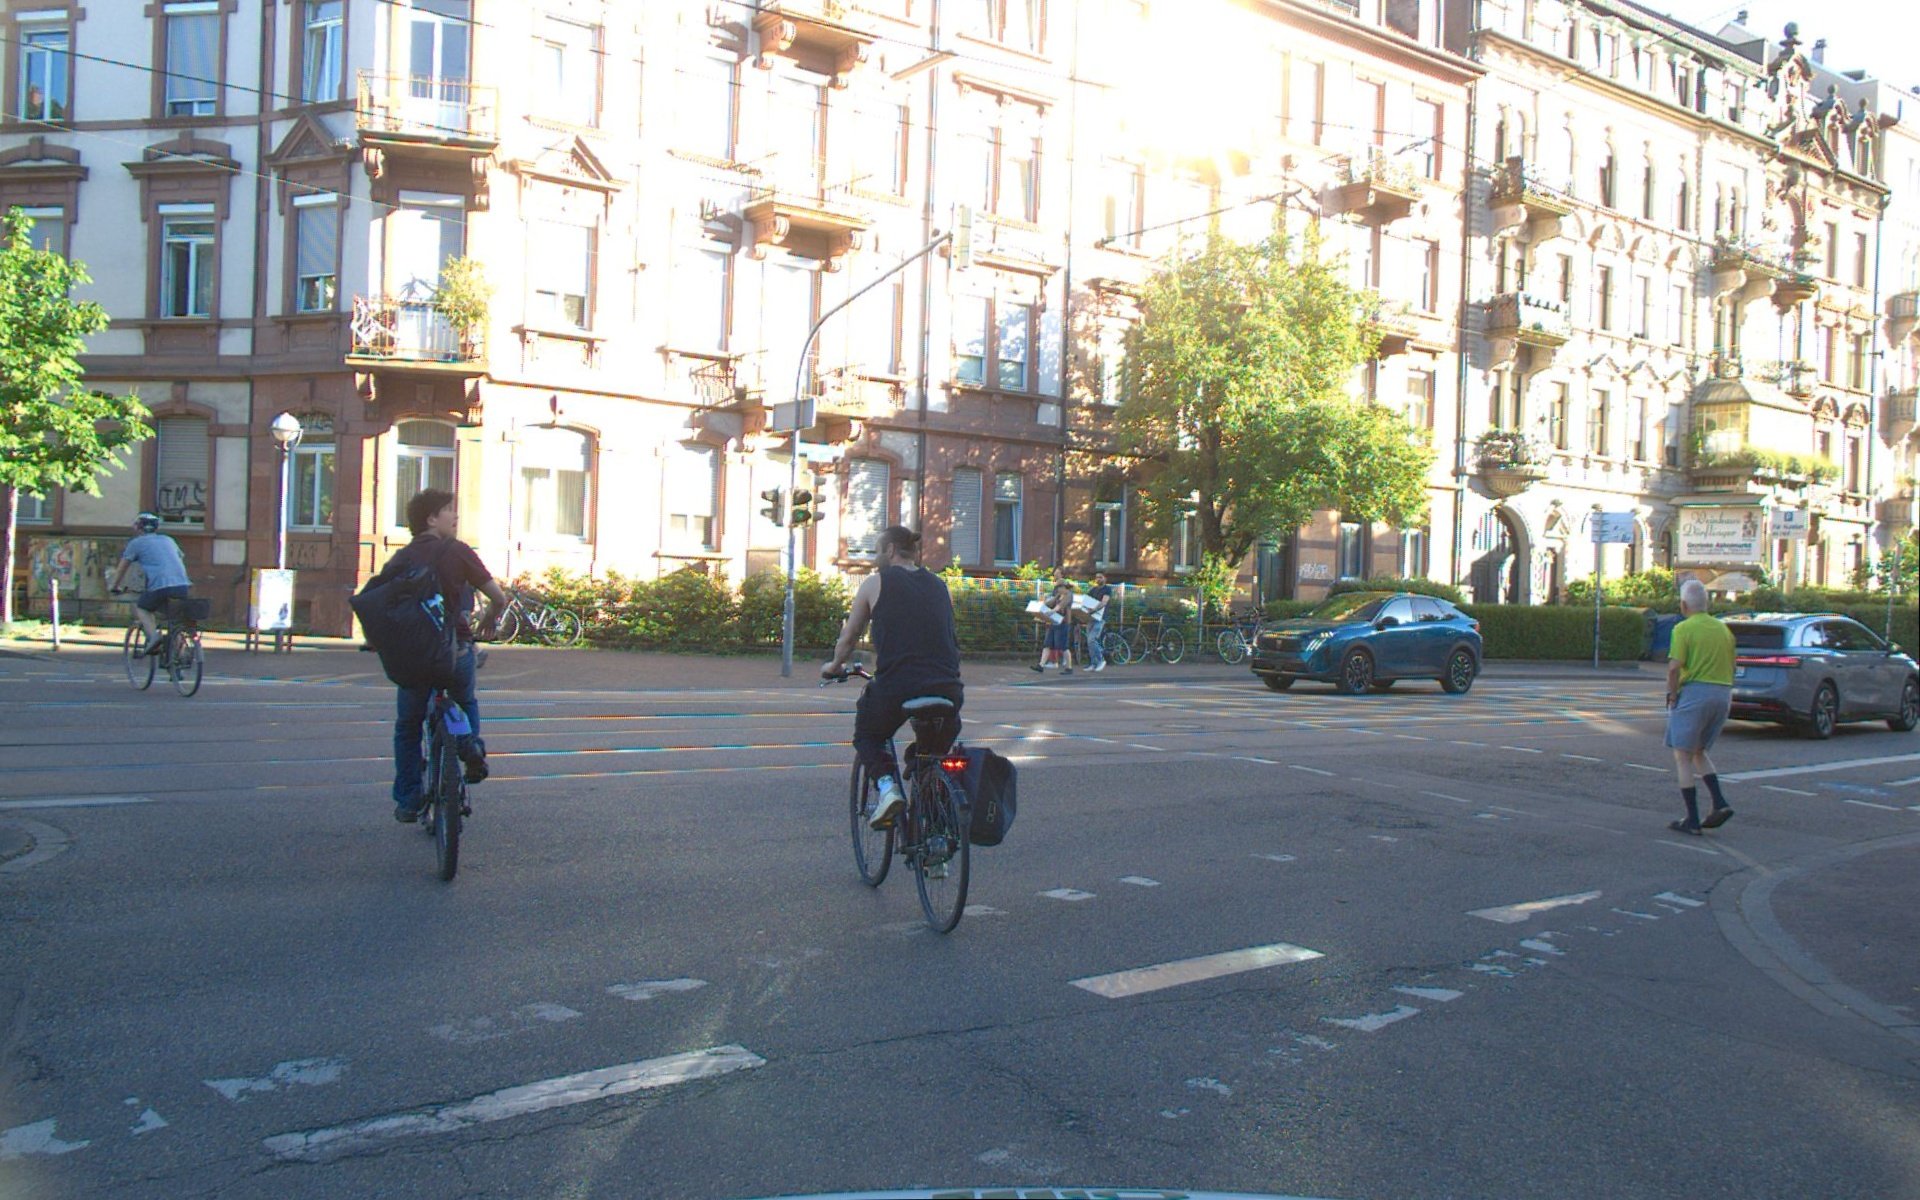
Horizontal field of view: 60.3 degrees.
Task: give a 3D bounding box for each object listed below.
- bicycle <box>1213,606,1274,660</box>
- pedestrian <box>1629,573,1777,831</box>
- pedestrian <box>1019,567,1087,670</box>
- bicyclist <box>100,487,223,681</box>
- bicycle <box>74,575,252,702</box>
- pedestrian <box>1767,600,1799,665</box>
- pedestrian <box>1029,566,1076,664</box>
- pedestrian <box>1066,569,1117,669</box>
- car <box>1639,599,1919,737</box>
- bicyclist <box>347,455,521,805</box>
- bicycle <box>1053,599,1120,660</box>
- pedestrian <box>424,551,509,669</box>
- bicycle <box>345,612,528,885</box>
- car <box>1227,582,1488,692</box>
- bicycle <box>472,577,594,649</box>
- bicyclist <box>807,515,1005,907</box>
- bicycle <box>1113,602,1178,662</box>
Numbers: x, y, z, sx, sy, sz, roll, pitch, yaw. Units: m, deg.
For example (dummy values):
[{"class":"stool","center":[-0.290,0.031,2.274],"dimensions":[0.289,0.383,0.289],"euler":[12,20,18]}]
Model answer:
[{"class":"bicycle","center":[5.762,0.678,33.650],"dimensions":[1.218,1.056,0.438],"euler":[1,1,-33]},{"class":"pedestrian","center":[5.411,0.711,12.089],"dimensions":[0.629,1.757,0.889],"euler":[4,2,8]},{"class":"pedestrian","center":[1.595,0.314,28.334],"dimensions":[0.882,1.693,0.708],"euler":[2,3,-20]},{"class":"bicyclist","center":[-8.320,-0.170,17.236],"dimensions":[0.927,1.946,0.793],"euler":[2,0,39]},{"class":"bicycle","center":[-8.321,0.370,17.223],"dimensions":[2.185,1.205,0.808],"euler":[2,0,39]},{"class":"pedestrian","center":[21.455,0.850,43.135],"dimensions":[0.487,1.669,0.522],"euler":[2,0,-26]},{"class":"pedestrian","center":[1.672,0.266,29.952],"dimensions":[0.626,1.745,0.517],"euler":[2,0,-24]},{"class":"pedestrian","center":[2.327,0.327,29.363],"dimensions":[0.626,1.745,0.659],"euler":[2,0,-24]},{"class":"car","center":[11.114,0.862,22.105],"dimensions":[4.433,1.613,1.948],"euler":[1,0,-40]},{"class":"bicyclist","center":[-2.605,0.138,8.138],"dimensions":[0.697,1.601,0.950],"euler":[2,0,-23]},{"class":"bicycle","center":[2.413,0.557,31.501],"dimensions":[1.217,1.126,0.438],"euler":[1,1,-32]},{"class":"pedestrian","center":[-7.342,0.137,24.633],"dimensions":[0.883,1.663,0.725],"euler":[4,2,21]},{"class":"bicycle","center":[-2.648,0.663,8.230],"dimensions":[0.707,1.126,1.954],"euler":[2,0,-22]},{"class":"car","center":[6.697,0.612,27.689],"dimensions":[4.362,1.679,1.923],"euler":[2,0,-37]},{"class":"bicycle","center":[-7.369,0.226,28.578],"dimensions":[1.921,1.126,0.443],"euler":[3,0,-3]},{"class":"bicyclist","center":[-0.271,0.479,7.674],"dimensions":[0.675,1.685,0.985],"euler":[1,0,-17]},{"class":"bicycle","center":[3.619,0.628,32.222],"dimensions":[1.217,1.126,0.438],"euler":[1,1,-32]}]
